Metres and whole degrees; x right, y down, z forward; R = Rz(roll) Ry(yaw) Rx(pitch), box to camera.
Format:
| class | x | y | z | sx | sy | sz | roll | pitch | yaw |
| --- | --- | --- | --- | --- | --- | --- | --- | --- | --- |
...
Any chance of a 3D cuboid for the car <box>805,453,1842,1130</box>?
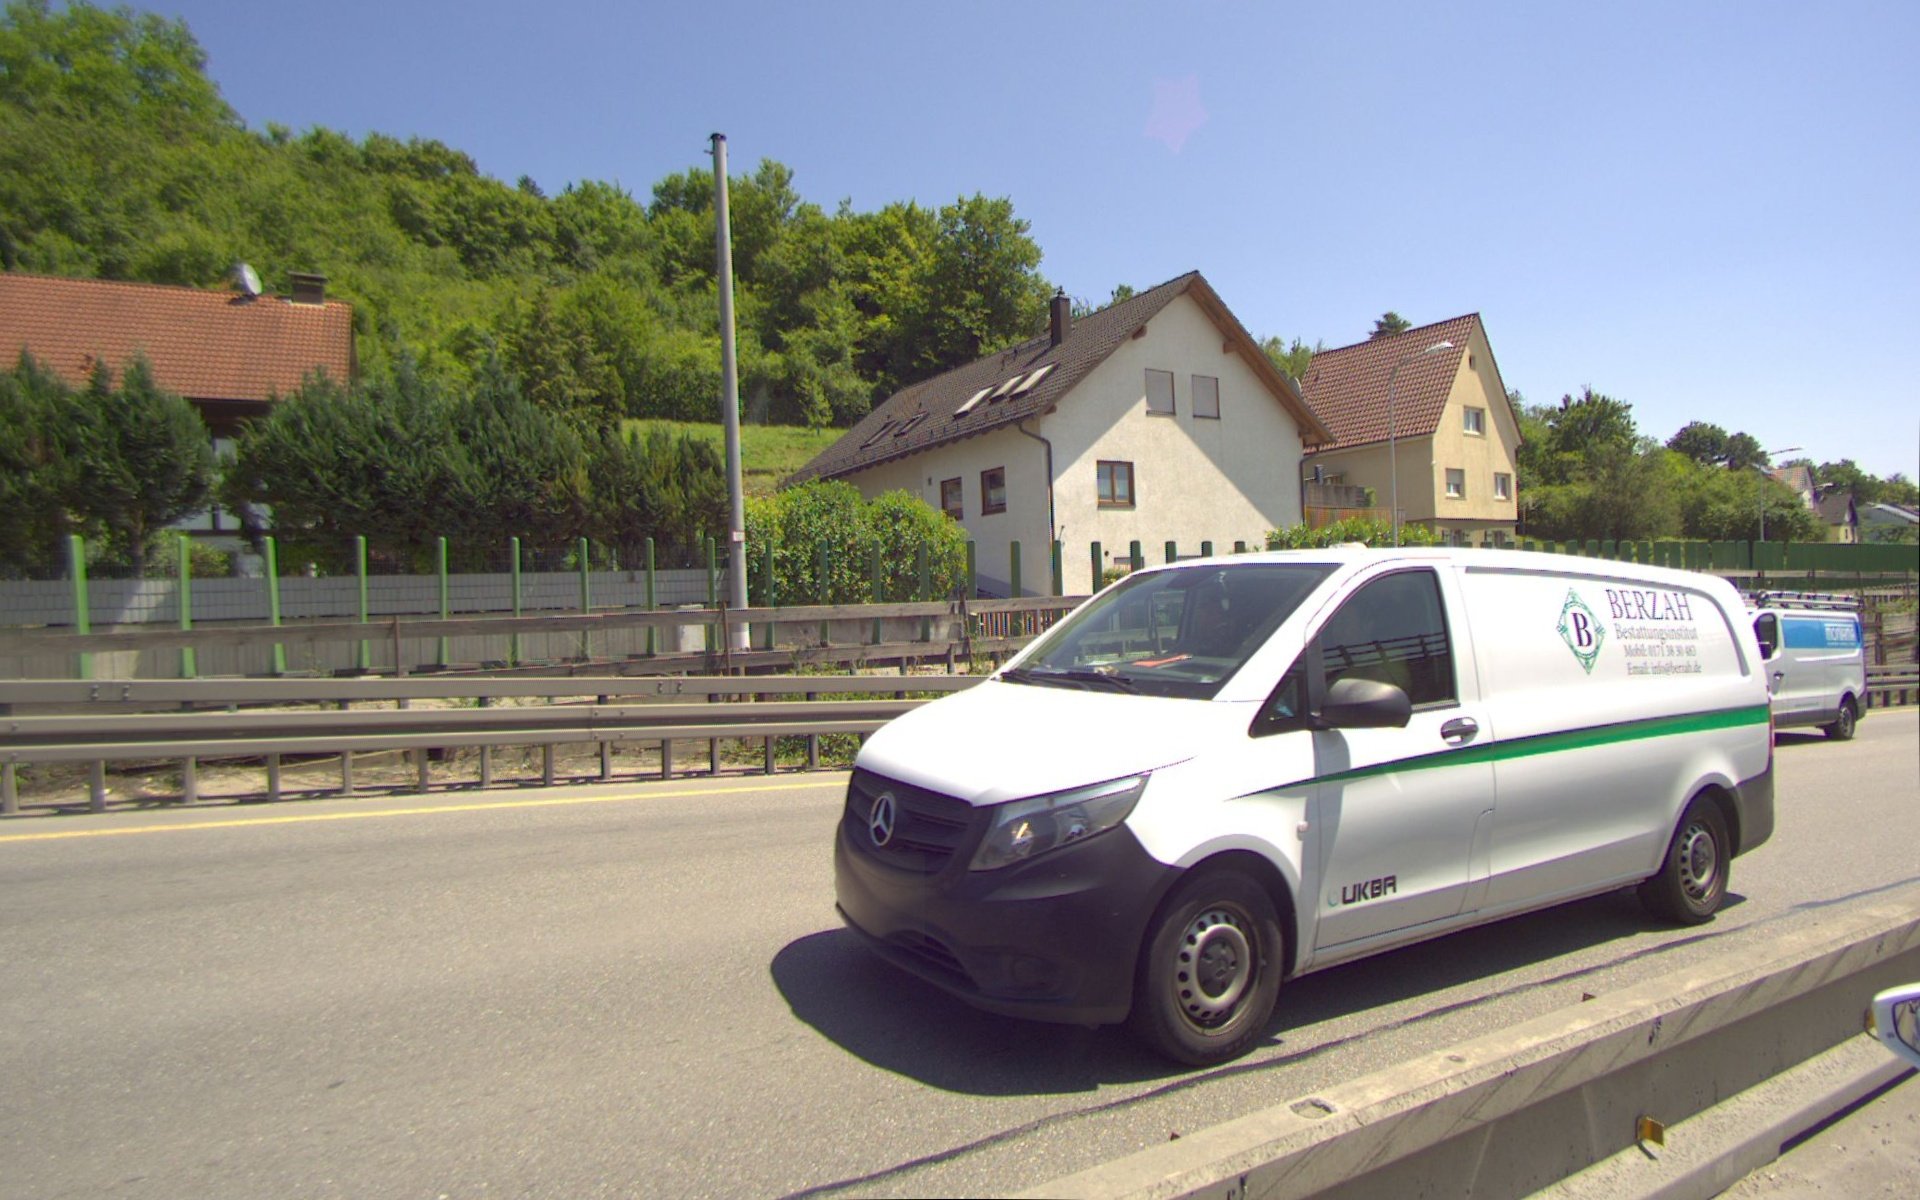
| class | x | y | z | sx | sy | sz | roll | pitch | yaw |
| --- | --- | --- | --- | --- | --- | --- | --- | --- | --- |
| car | 2.079 | 0.629 | 5.146 | 5.264 | 1.931 | 2.147 | 2 | -1 | -30 |

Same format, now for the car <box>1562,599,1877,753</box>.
| class | x | y | z | sx | sy | sz | roll | pitch | yaw |
| --- | --- | --- | --- | --- | --- | --- | --- | --- | --- |
| car | 11.293 | 1.027 | 14.832 | 5.180 | 1.951 | 1.817 | 1 | -1 | -29 |
